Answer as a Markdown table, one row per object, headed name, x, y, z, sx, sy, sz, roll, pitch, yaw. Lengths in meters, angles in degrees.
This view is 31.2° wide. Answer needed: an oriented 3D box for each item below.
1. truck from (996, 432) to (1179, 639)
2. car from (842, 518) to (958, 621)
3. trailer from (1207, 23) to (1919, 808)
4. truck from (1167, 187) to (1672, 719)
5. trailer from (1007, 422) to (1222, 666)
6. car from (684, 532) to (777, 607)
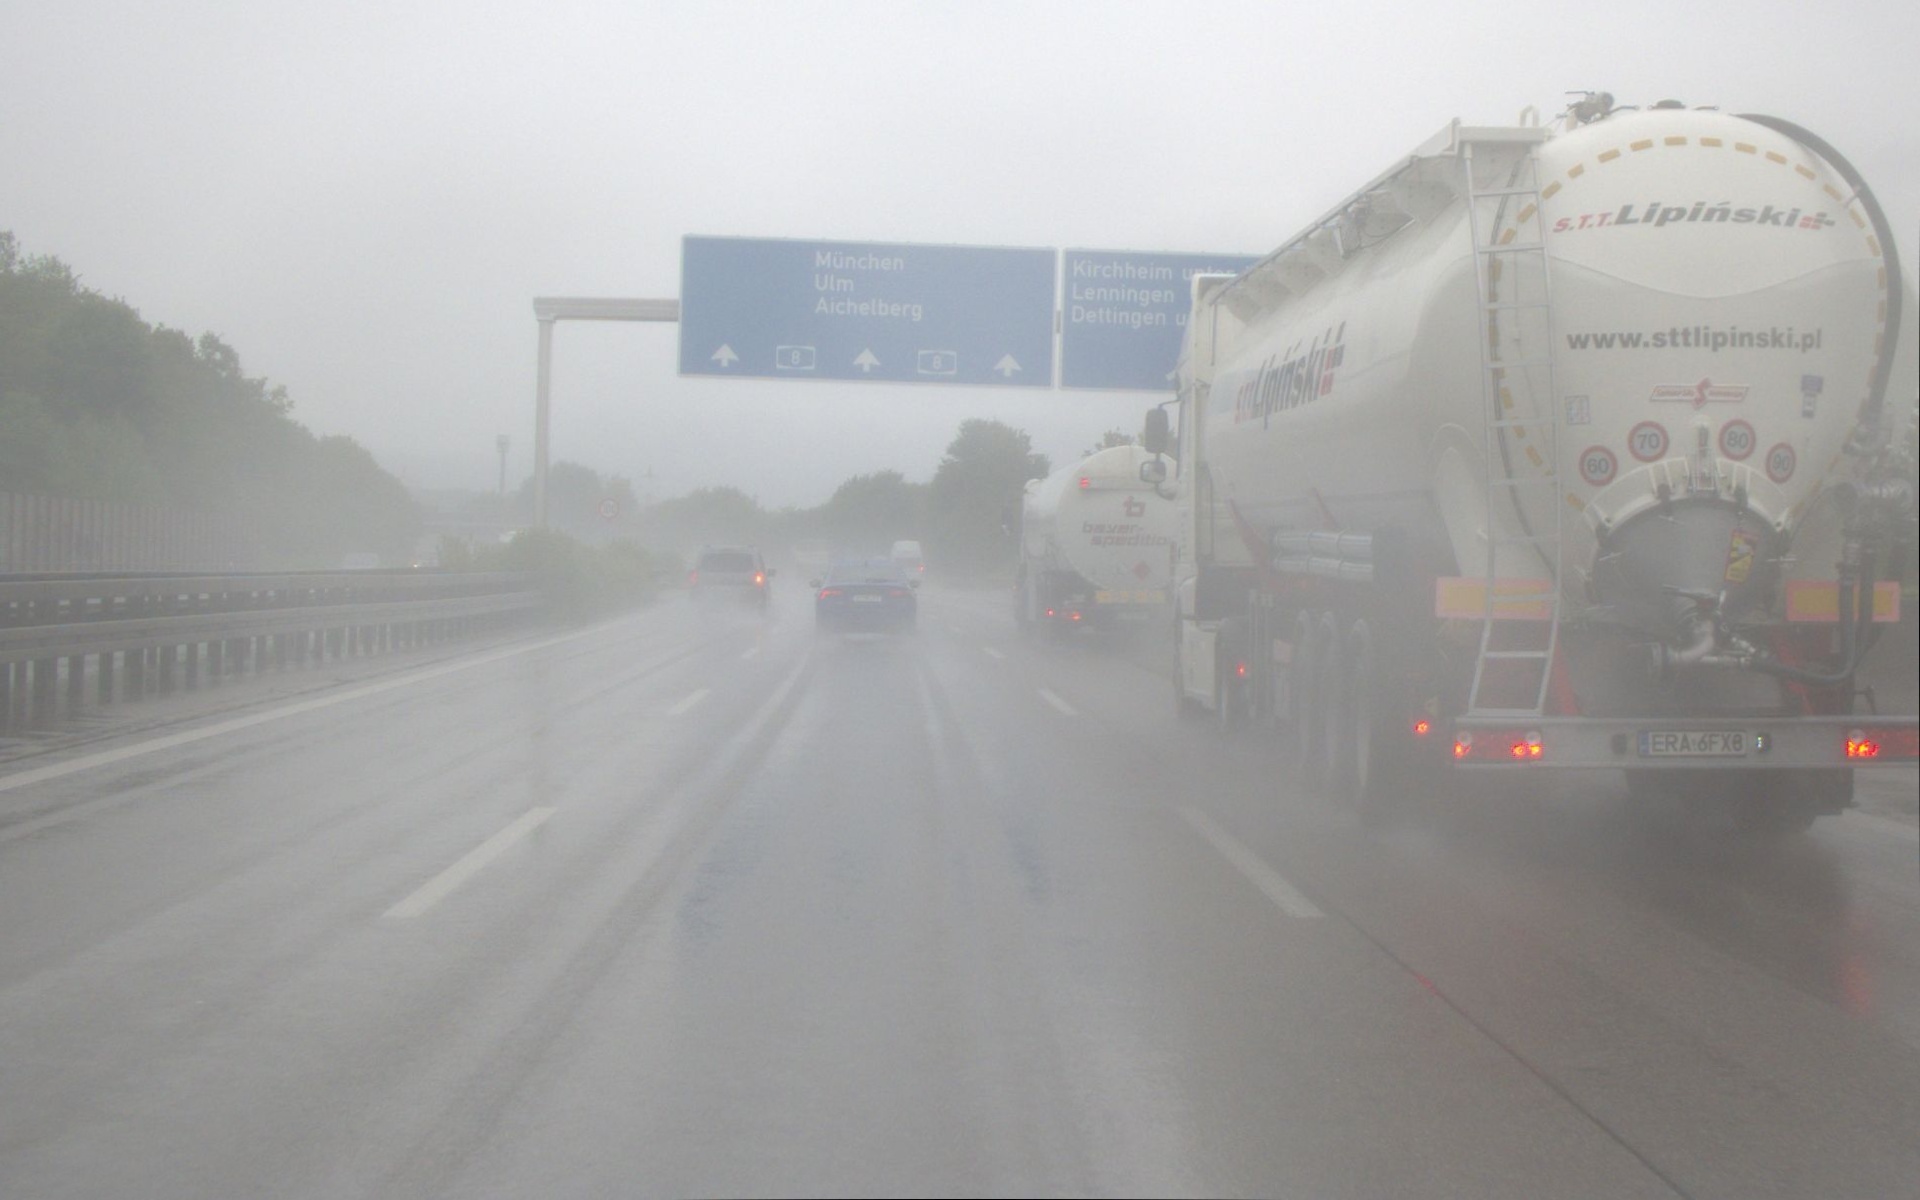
| name | x | y | z | sx | sy | sz | roll | pitch | yaw |
| --- | --- | --- | --- | --- | --- | --- | --- | --- | --- |
| truck | 2.316 | -1.193 | 64.699 | 2.943 | 3.671 | 6.362 | 1 | 1 | -2 |
| car | -1.040 | -0.568 | 61.252 | 1.978 | 1.750 | 4.481 | 0 | 1 | 0 |
| trailer | 3.583 | -0.975 | 22.025 | 3.188 | 3.657 | 11.667 | 1 | 1 | 0 |
| truck | 3.534 | -1.128 | 28.453 | 3.104 | 3.793 | 7.213 | 1 | 1 | 0 |
| trailer | 2.516 | -0.952 | 59.010 | 3.004 | 3.834 | 8.624 | 1 | 1 | -2 |
| car | -5.493 | -0.743 | 82.832 | 1.925 | 1.735 | 4.404 | 1 | 1 | 0 |
